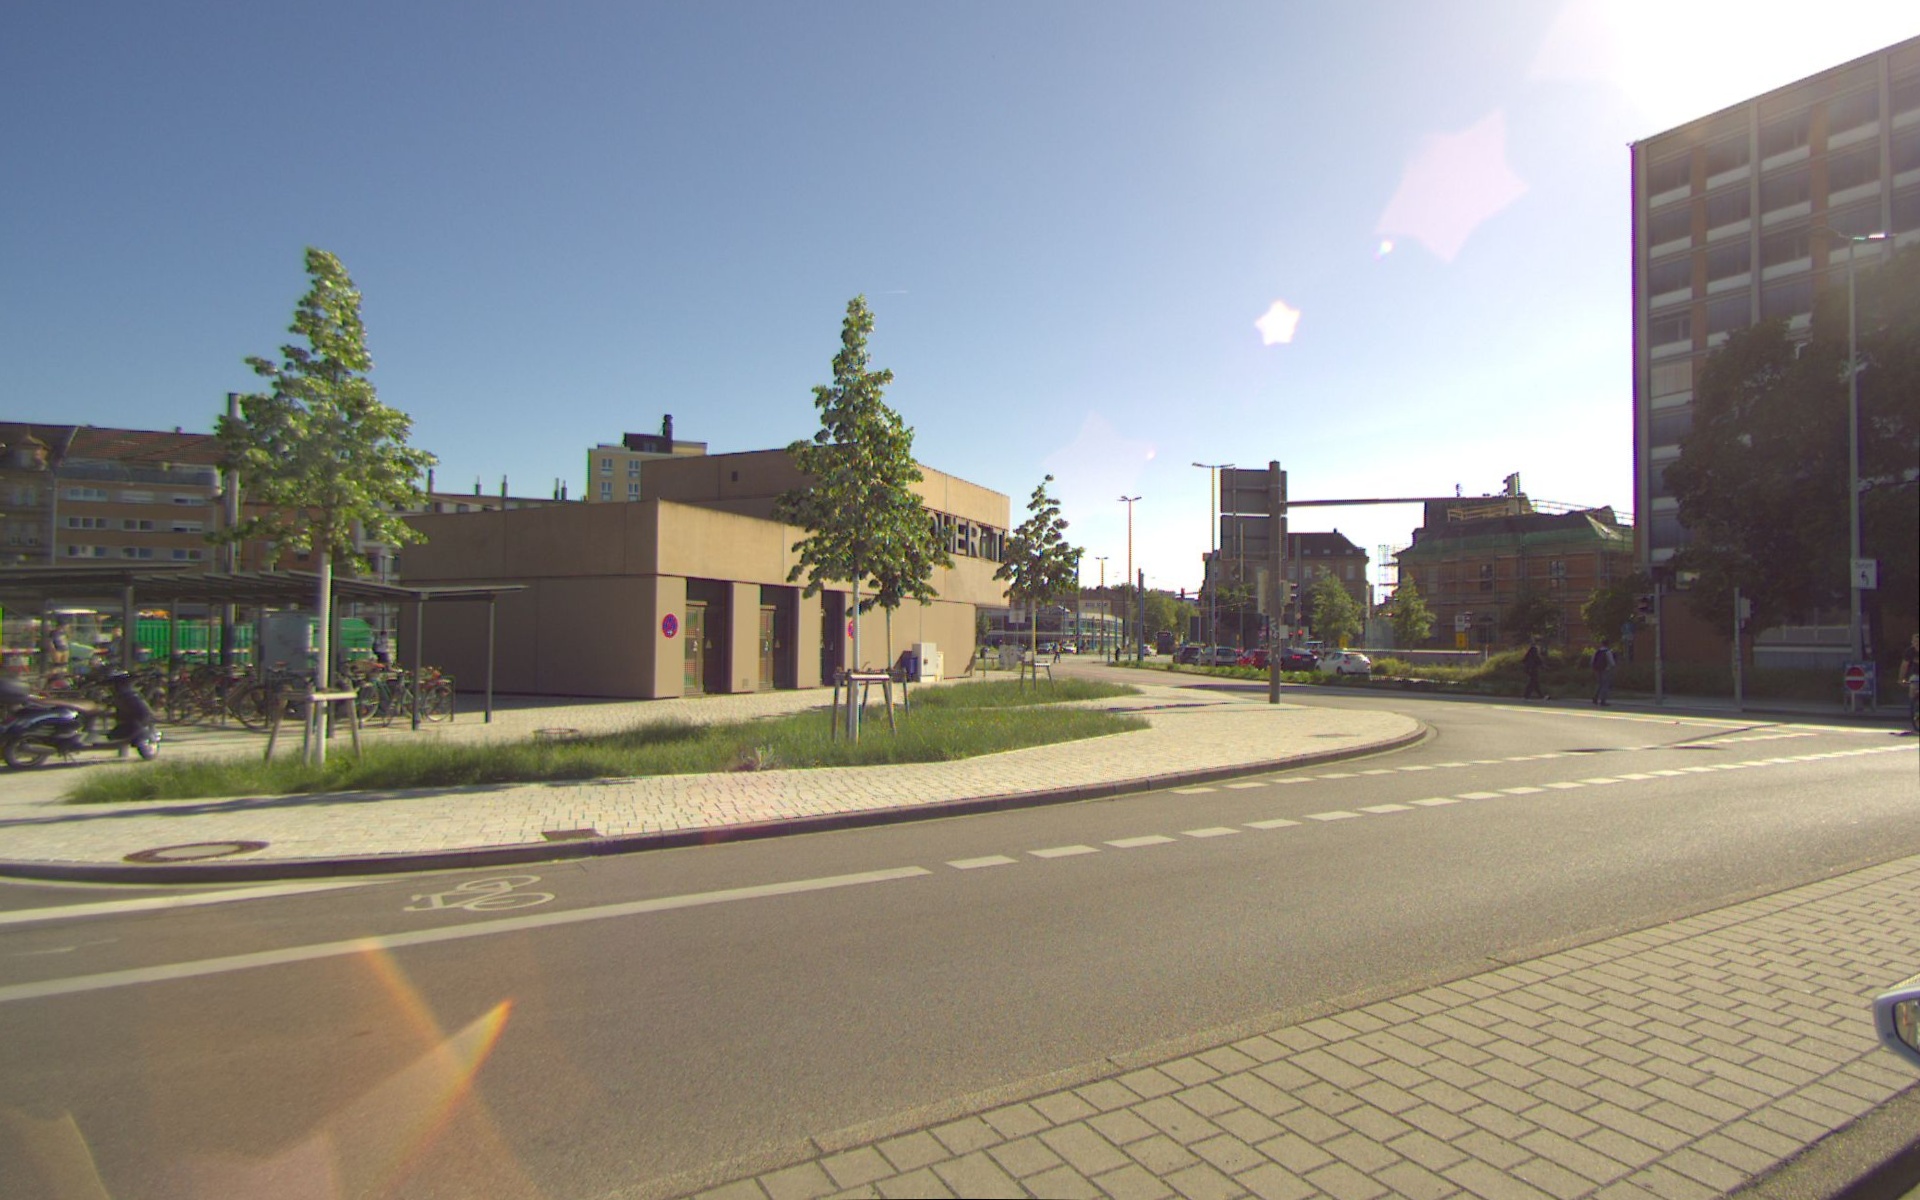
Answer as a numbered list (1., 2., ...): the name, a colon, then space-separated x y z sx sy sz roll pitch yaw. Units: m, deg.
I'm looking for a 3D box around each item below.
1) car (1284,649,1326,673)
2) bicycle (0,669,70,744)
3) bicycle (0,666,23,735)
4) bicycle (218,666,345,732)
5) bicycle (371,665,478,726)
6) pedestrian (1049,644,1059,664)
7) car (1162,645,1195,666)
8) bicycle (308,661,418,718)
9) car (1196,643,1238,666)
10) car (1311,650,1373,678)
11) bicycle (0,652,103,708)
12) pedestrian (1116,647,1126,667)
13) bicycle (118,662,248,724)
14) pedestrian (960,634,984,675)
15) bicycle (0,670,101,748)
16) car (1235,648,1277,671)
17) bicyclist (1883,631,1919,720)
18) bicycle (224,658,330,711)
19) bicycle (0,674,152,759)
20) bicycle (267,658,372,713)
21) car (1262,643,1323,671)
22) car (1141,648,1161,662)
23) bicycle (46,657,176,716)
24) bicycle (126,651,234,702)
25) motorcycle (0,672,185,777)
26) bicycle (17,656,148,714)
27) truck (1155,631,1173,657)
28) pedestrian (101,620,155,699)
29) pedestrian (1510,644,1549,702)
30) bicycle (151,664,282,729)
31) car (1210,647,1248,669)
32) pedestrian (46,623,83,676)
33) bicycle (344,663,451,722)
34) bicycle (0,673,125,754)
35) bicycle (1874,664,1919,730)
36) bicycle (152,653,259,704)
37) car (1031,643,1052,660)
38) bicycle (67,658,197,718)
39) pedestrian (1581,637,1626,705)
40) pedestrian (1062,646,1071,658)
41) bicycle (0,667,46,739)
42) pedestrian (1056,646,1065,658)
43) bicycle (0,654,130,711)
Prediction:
1. car: 25.871 4.568 75.460 1.846 1.638 3.626 2 -3 0
2. bicycle: -14.018 1.530 14.405 0.557 1.051 1.788 -1 -3 22
3. bicycle: -15.211 1.515 14.932 0.557 1.051 1.788 -1 -3 22
4. bicycle: -11.680 1.684 17.362 0.557 1.051 1.788 -1 -3 22
5. bicycle: -9.852 1.733 18.545 0.557 1.051 1.788 -1 -3 22
6. pedestrian: 7.799 4.456 83.432 0.643 1.632 0.676 2 0 -4
7. car: 16.352 4.125 75.186 1.696 1.461 3.912 3 -2 2
8. bicycle: -11.651 1.724 19.657 0.558 1.051 1.785 -2 -4 30
9. car: 17.426 3.683 68.285 1.697 1.461 3.798 1 -2 -3
10. car: 21.259 3.558 56.030 1.665 1.454 3.733 1 -2 -7
11. bicycle: -17.869 1.538 19.502 0.557 1.051 1.788 -1 -3 22
12. pedestrian: 13.121 4.662 81.987 0.566 1.632 0.565 2 0 -30
13. bicycle: -13.844 1.632 17.960 0.557 1.051 1.788 -1 -3 22
14. pedestrian: 0.515 2.329 42.823 0.778 1.745 0.594 -2 -5 38
15. bicycle: -13.335 1.526 14.149 0.557 1.051 1.788 -1 -3 22
16. car: 20.298 4.059 69.066 1.644 1.461 3.722 3 -2 -2
17. bicyclist: 18.063 1.419 18.914 0.966 1.642 0.716 2 -3 -30
18. bicycle: -14.099 1.726 20.805 0.557 1.051 1.788 -1 -3 22
19. bicycle: -12.188 1.542 13.665 0.557 1.051 1.788 -1 -3 22
20. bicycle: -12.929 1.710 20.335 0.557 1.051 1.788 -1 -3 22
21. car: 20.784 3.545 63.010 1.953 1.645 4.374 1 -2 -7
22. car: 24.247 6.906 127.452 1.752 1.565 3.638 2 0 23
23. bicycle: -15.887 1.591 18.851 0.557 1.051 1.788 -1 -3 22
24. bicycle: -16.872 1.646 21.787 0.557 1.051 1.788 -1 -3 22
25. motorcycle: -10.930 1.499 12.481 0.584 1.134 1.983 0 -2 26
26. bicycle: -16.627 1.583 19.094 0.557 1.051 1.788 -1 -3 22
27. truck: 31.076 6.716 153.273 2.549 3.723 5.229 2 0 10
28. pedestrian: -18.830 1.340 22.749 0.605 1.746 0.682 0 -2 15
29. pedestrian: 16.464 2.102 29.050 0.669 1.633 0.718 1 -2 -8
30. bicycle: -12.949 1.657 17.558 0.557 1.051 1.788 -1 -3 22
31. car: 20.244 4.354 75.664 1.697 1.461 3.799 3 -2 -2
32. pedestrian: -26.130 1.442 29.314 0.550 1.538 0.588 0 -2 25
33. bicycle: -10.641 1.721 19.073 0.557 1.051 1.788 -1 -3 22
34. bicycle: -12.787 1.547 13.925 0.557 1.051 1.788 -1 -3 22
35. bicycle: 18.080 1.812 18.907 1.848 1.180 0.742 2 -3 -30
36. bicycle: -16.195 1.666 21.603 0.557 1.051 1.788 -1 -3 22
37. car: 11.084 7.029 136.554 1.960 2.040 4.001 2 0 16
38. bicycle: -15.245 1.593 18.555 0.557 1.051 1.788 -1 -3 22
39. pedestrian: 17.836 1.960 27.851 1.086 1.856 0.748 4 -3 -38
40. pedestrian: 13.686 6.663 129.099 0.855 1.427 0.688 2 0 -32
41. bicycle: -14.595 1.514 14.647 0.557 1.051 1.788 -1 -3 22
42. pedestrian: 12.835 6.635 128.582 0.855 1.427 0.688 2 0 -32
43. bicycle: -17.188 1.562 19.331 0.557 1.051 1.788 -1 -3 22
